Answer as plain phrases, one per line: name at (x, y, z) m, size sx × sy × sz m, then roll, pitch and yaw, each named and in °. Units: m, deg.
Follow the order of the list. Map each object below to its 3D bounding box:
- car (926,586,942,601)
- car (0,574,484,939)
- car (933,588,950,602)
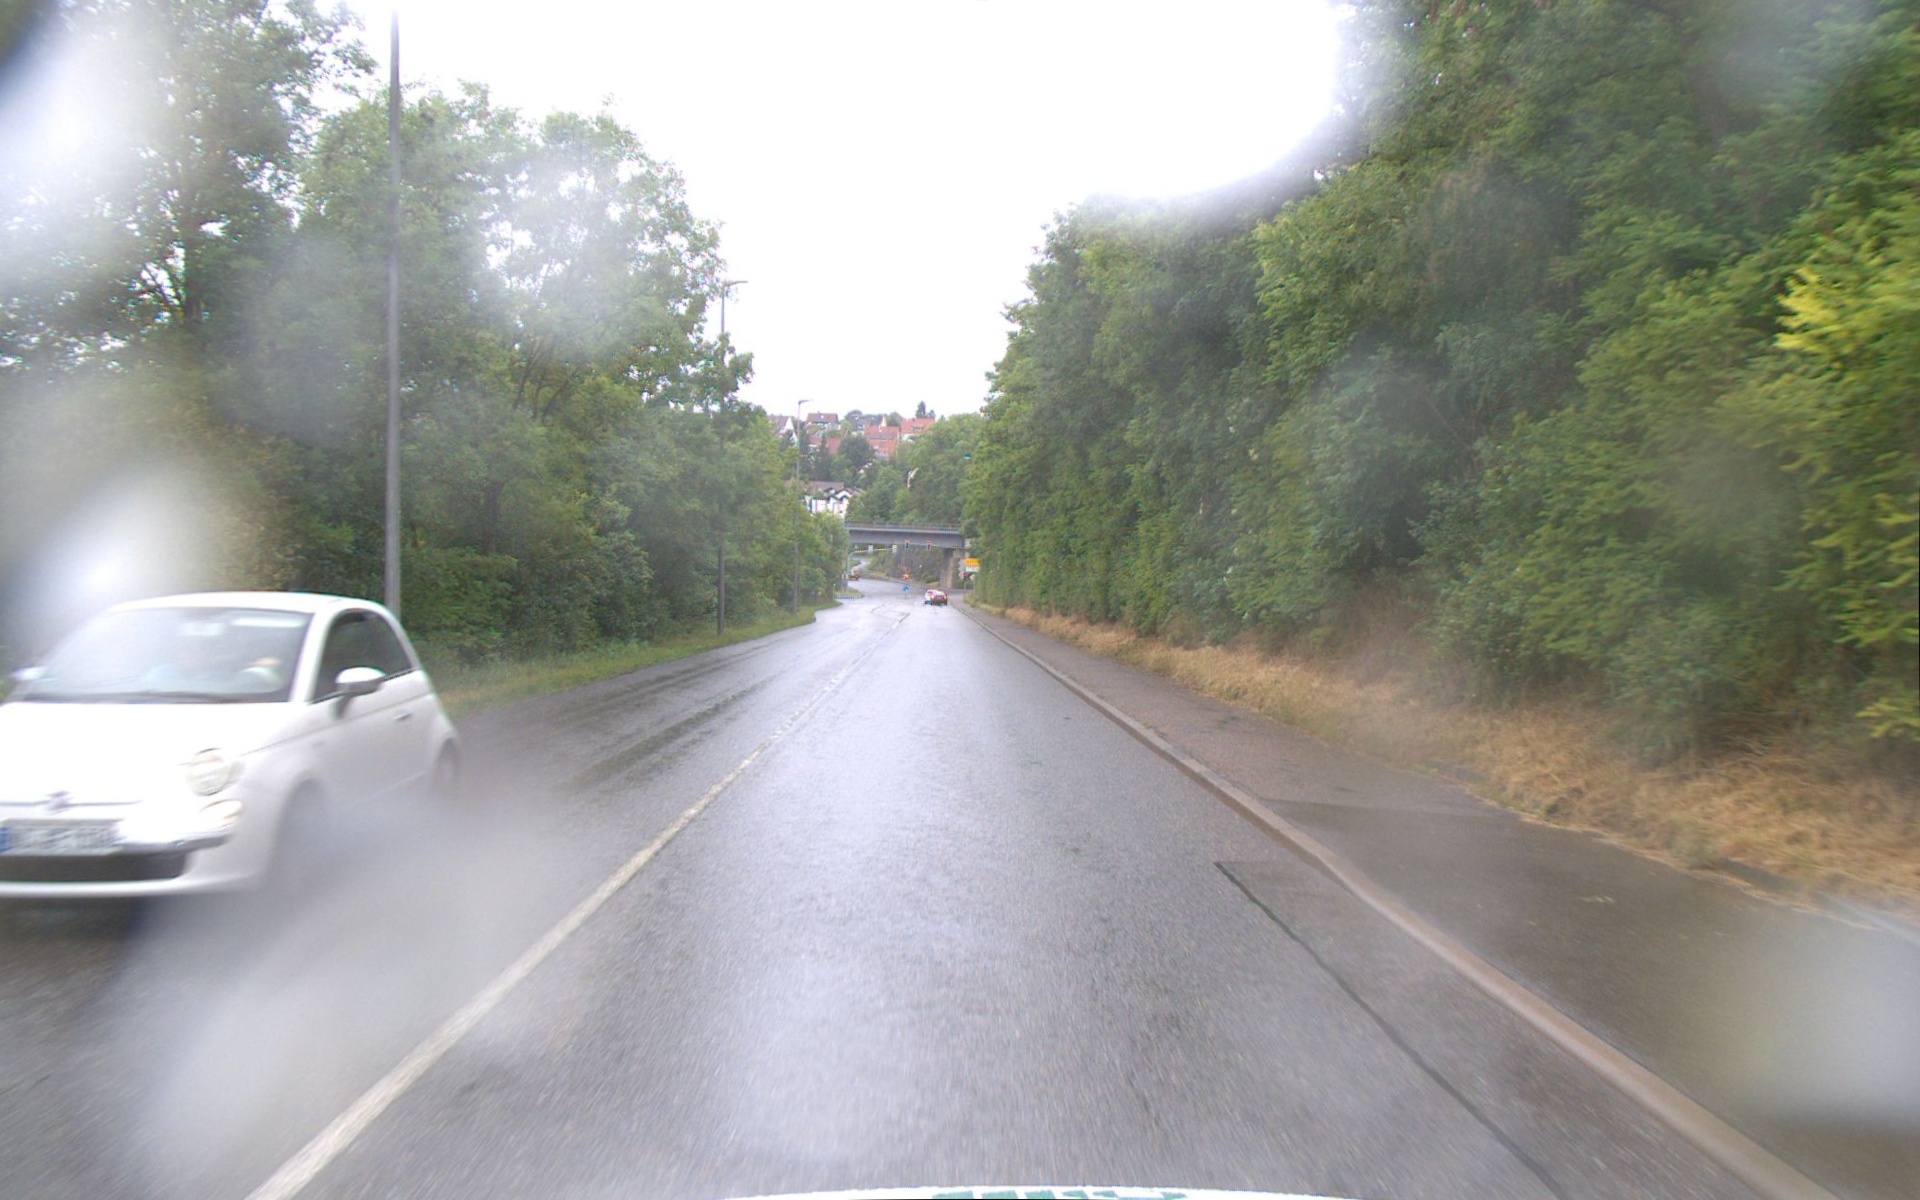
car at (-2.787, -0.739, 176.840) m, size 1.732 × 1.590 × 4.000 m, roll 0°, pitch 0°, yaw 0°
car at (-3.743, 0.649, 8.622) m, size 1.606 × 1.514 × 3.453 m, roll 0°, pitch 0°, yaw -2°
car at (-1.910, -0.538, 170.284) m, size 1.732 × 1.404 × 4.000 m, roll 0°, pitch 0°, yaw 0°
